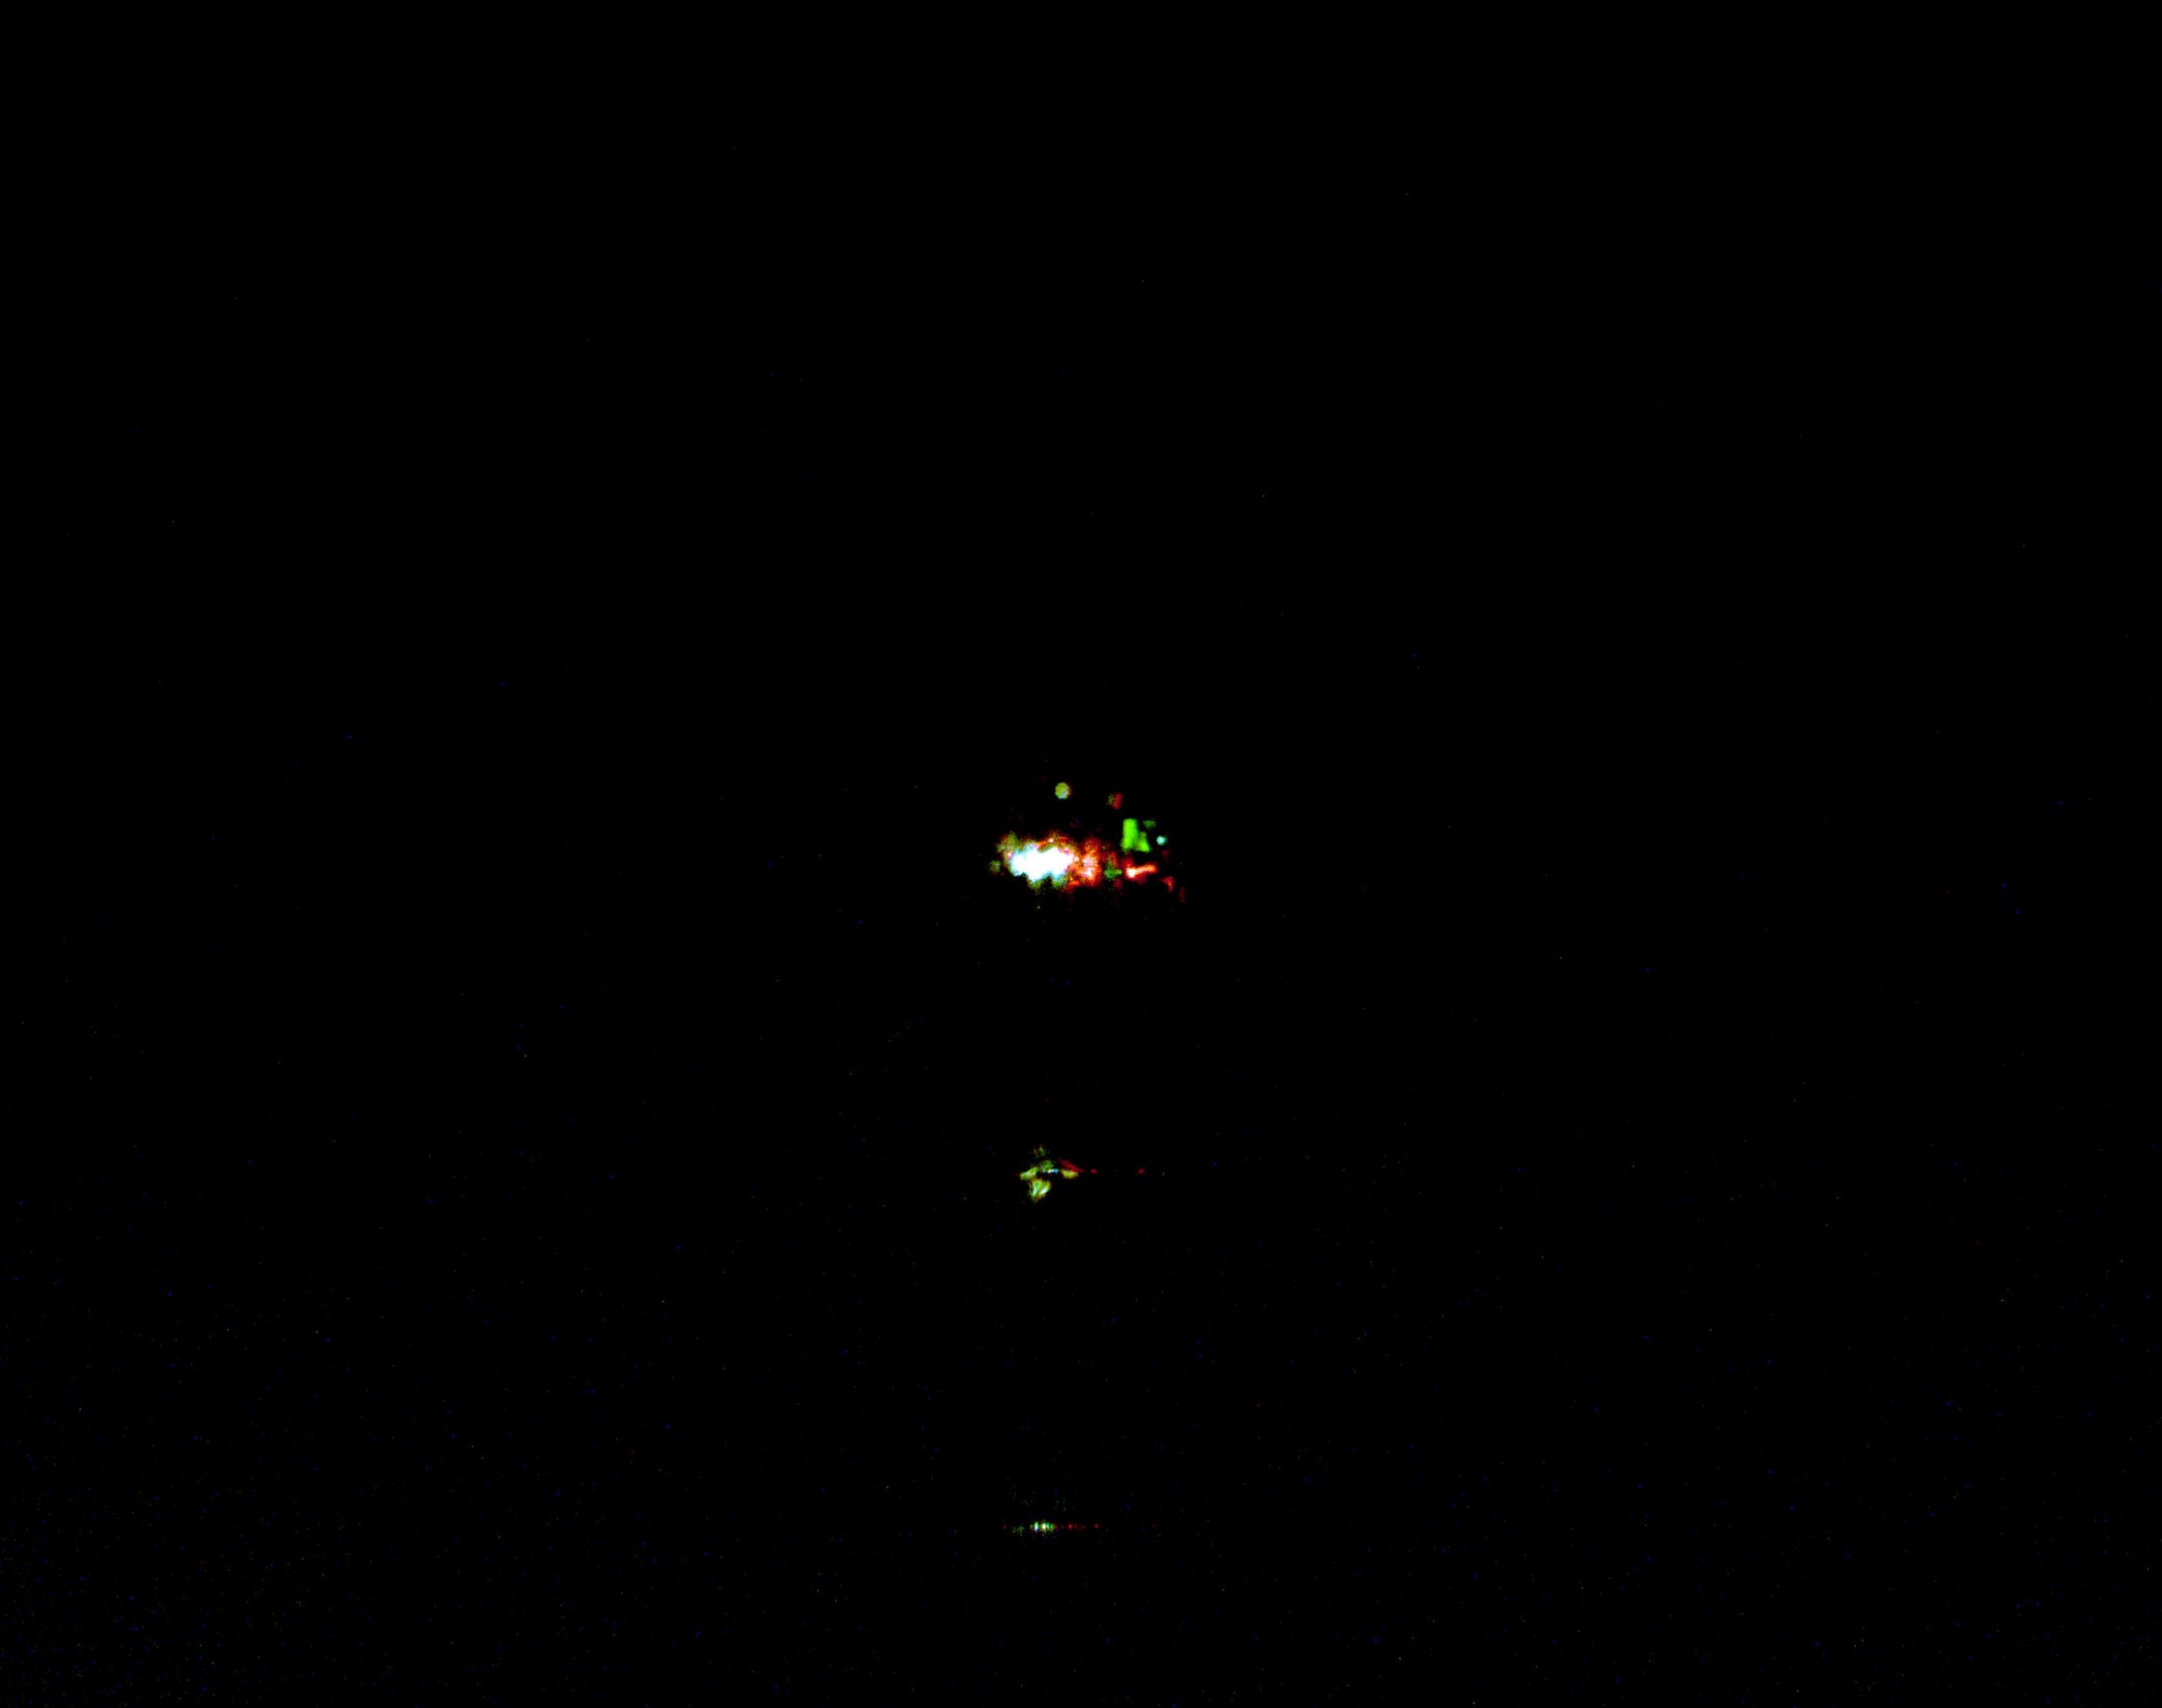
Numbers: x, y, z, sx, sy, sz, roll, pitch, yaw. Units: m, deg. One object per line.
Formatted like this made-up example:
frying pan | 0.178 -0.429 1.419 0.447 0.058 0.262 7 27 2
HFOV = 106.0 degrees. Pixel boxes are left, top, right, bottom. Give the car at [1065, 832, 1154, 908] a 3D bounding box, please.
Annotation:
car | 0.959 0.476 28.096 2.705 2.307 6.103 -1 0 2

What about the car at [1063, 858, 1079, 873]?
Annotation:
car | -1.298 1.449 104.994 1.988 1.915 3.997 1 -1 -2
